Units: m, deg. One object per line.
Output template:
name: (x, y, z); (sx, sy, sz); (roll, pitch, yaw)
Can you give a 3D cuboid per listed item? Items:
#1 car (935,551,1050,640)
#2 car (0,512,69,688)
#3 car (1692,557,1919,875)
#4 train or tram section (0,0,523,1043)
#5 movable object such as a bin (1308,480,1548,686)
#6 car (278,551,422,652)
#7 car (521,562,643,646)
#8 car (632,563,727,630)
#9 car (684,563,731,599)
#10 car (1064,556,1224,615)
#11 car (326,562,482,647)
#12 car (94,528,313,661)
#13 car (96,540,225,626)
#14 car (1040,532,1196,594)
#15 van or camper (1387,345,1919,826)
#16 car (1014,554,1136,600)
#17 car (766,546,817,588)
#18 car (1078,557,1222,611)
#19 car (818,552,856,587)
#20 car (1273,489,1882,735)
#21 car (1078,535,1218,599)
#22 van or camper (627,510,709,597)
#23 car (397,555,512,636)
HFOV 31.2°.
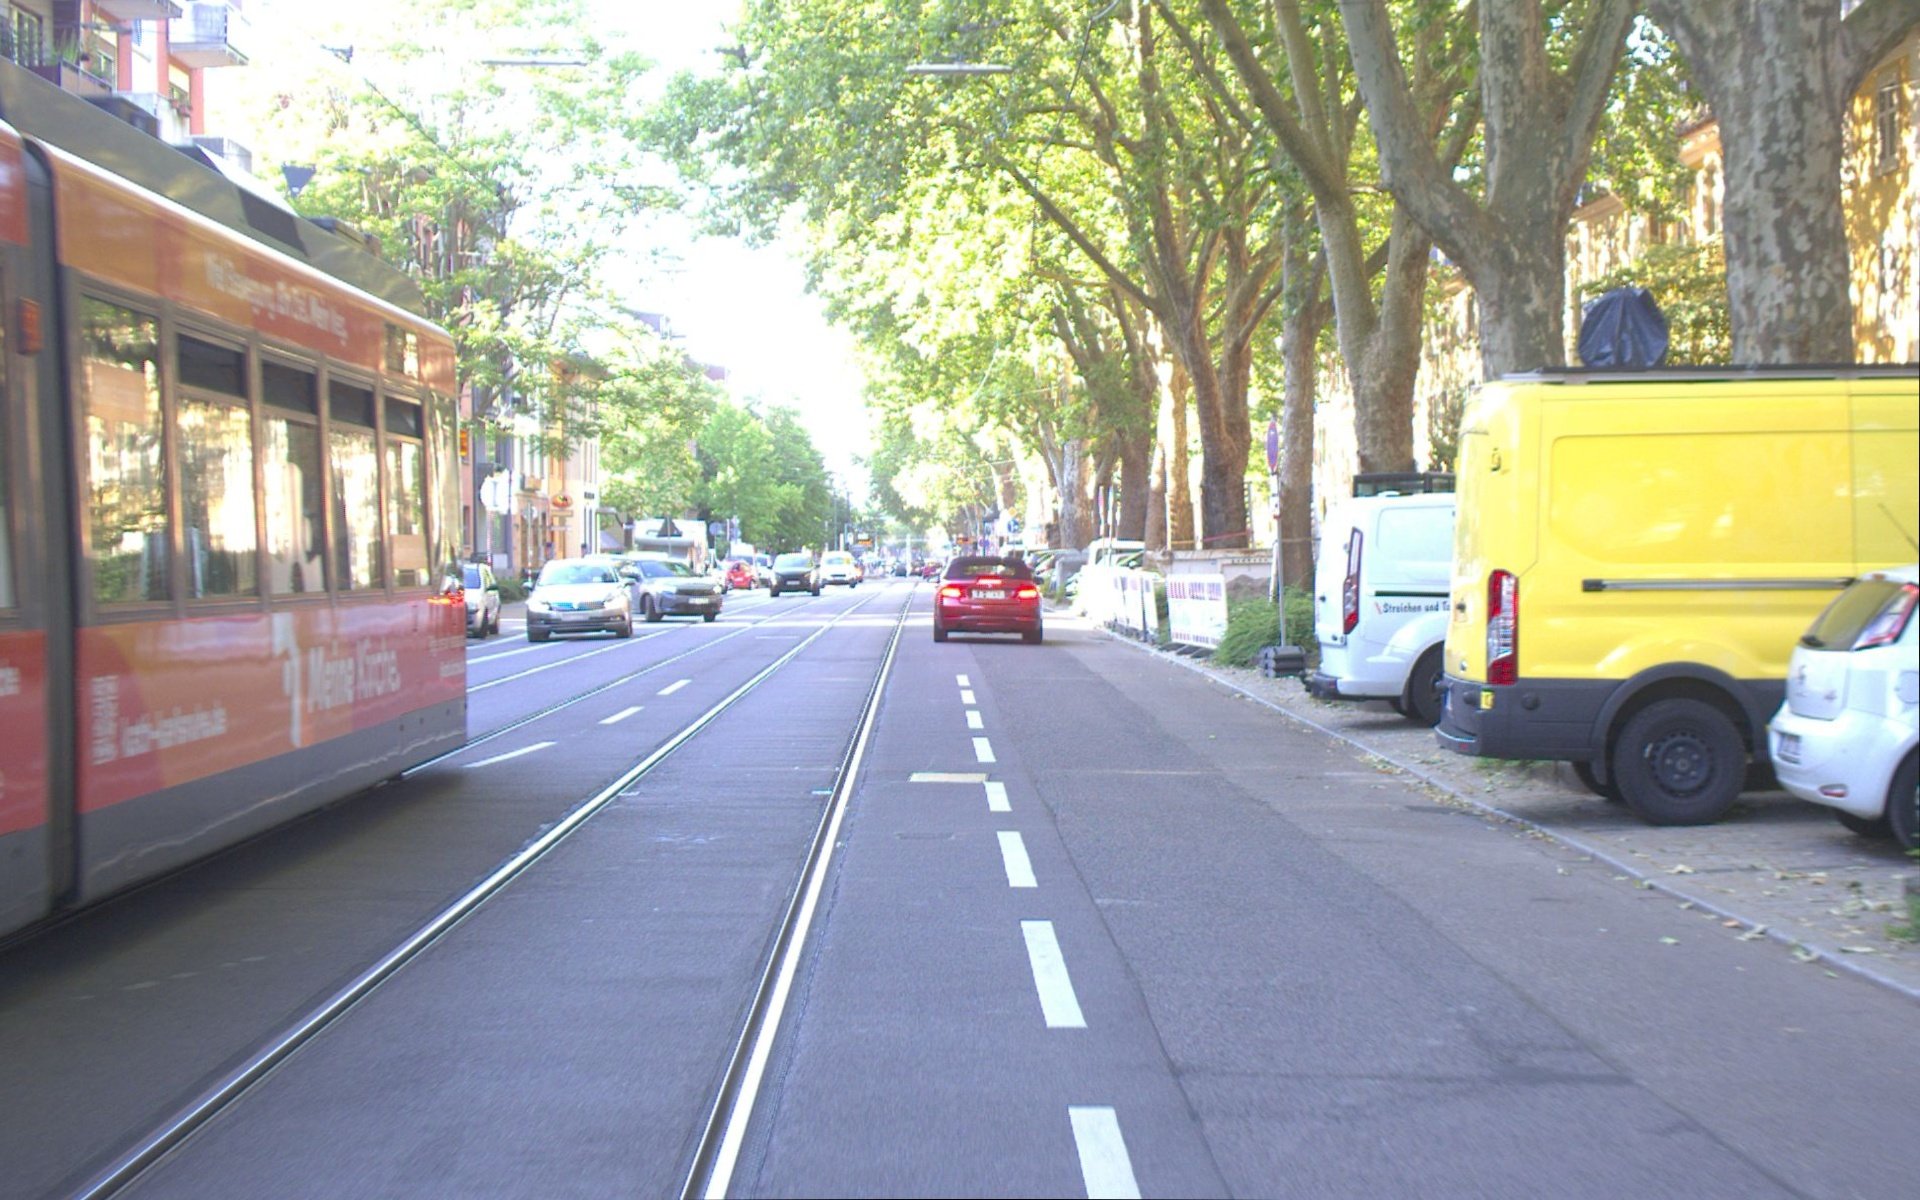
car: (0.510, -0.095, 56.597); (1.792, 1.384, 4.236); (1, 1, 0)
car: (-10.569, -0.022, 35.569); (1.788, 1.765, 4.472); (0, 1, -4)
car: (5.782, 0.528, 17.095); (3.906, 1.484, 1.863); (0, 1, 2)
train or tram section: (-4.346, -0.508, 16.299); (2.908, 3.474, 14.199); (0, 1, -1)
movable object such as a bin: (5.436, -0.210, 39.664); (1.484, 2.261, 3.270); (1, 1, 33)
car: (-10.101, -0.002, 57.193); (1.819, 1.581, 4.006); (1, 1, -3)
car: (-6.912, 0.045, 63.239); (1.795, 1.441, 4.717); (2, 1, -2)
car: (-6.328, -0.104, 77.853); (1.795, 1.441, 4.053); (-1, 1, 0)
car: (-11.117, -0.846, 151.438); (1.836, 1.463, 5.070); (3, 1, -3)
car: (4.822, -0.375, 90.512); (4.087, 1.516, 1.917); (0, 0, -1)
car: (-10.010, 0.049, 62.220); (1.952, 1.390, 4.863); (3, 1, 0)
car: (-10.120, -0.079, 46.364); (1.952, 1.643, 4.882); (2, 0, -2)
car: (-20.395, -0.429, 87.570); (1.993, 2.116, 4.723); (1, 0, -29)
car: (5.066, -1.180, 110.461); (4.835, 1.956, 2.065); (0, 0, -2)
van or camper: (5.564, -0.082, 19.912); (5.926, 2.620, 2.270); (0, 0, 2)
car: (4.336, -0.859, 129.626); (4.497, 1.596, 2.027); (-2, 0, 4)
car: (-6.524, -1.300, 133.540); (1.853, 1.595, 4.464); (0, 1, -1)
car: (5.153, -0.438, 93.008); (3.844, 1.428, 1.851); (0, 0, 4)
car: (-6.369, -1.587, 178.553); (1.891, 1.826, 4.895); (0, 1, -1)
car: (5.207, 0.080, 29.499); (4.834, 2.006, 2.063); (0, 1, 0)
car: (5.195, -0.908, 94.968); (3.844, 1.766, 1.916); (0, 0, 4)
van or camper: (-10.854, -1.713, 128.219); (2.337, 3.030, 6.397); (3, 0, 0)
car: (-9.919, -0.100, 67.632); (1.725, 1.478, 3.930); (2, 0, -2)
